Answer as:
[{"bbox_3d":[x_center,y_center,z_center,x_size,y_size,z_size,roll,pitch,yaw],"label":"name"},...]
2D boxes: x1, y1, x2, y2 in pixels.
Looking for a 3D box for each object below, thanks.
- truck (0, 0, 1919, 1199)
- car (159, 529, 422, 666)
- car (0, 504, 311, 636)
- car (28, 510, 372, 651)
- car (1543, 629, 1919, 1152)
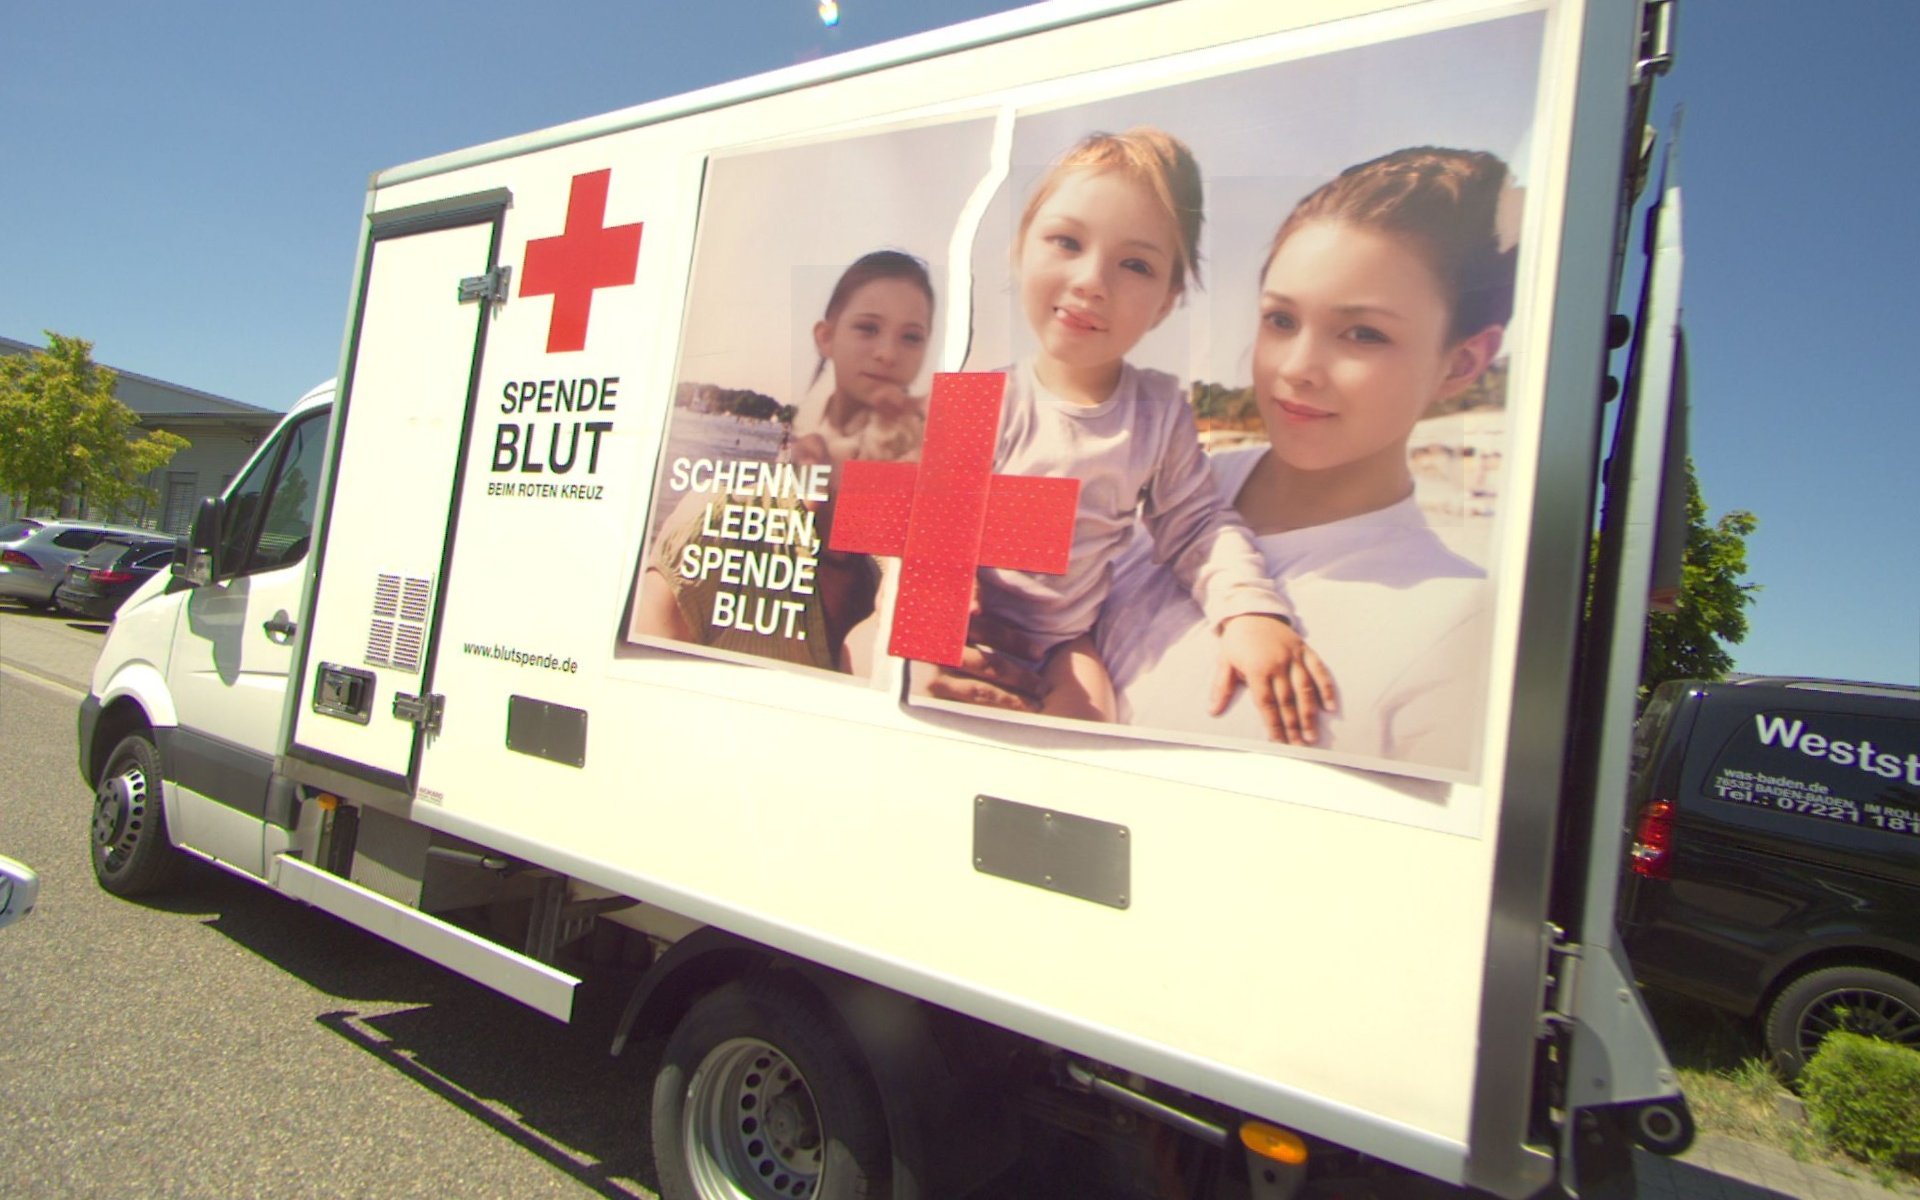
[{"bbox_3d":[-1.010,-0.019,3.839,6.769,3.240,2.463,6,-3,32],"label":"truck"},{"bbox_3d":[-9.625,0.018,14.615,1.389,1.558,2.712,7,-3,32],"label":"car"},{"bbox_3d":[-13.725,-0.463,16.854,1.881,1.558,4.289,7,-3,32],"label":"car"},{"bbox_3d":[-11.574,-0.226,15.570,1.881,1.558,3.701,7,-3,32],"label":"car"},{"bbox_3d":[5.693,1.527,4.402,5.248,2.036,1.999,7,-3,31],"label":"car"}]
